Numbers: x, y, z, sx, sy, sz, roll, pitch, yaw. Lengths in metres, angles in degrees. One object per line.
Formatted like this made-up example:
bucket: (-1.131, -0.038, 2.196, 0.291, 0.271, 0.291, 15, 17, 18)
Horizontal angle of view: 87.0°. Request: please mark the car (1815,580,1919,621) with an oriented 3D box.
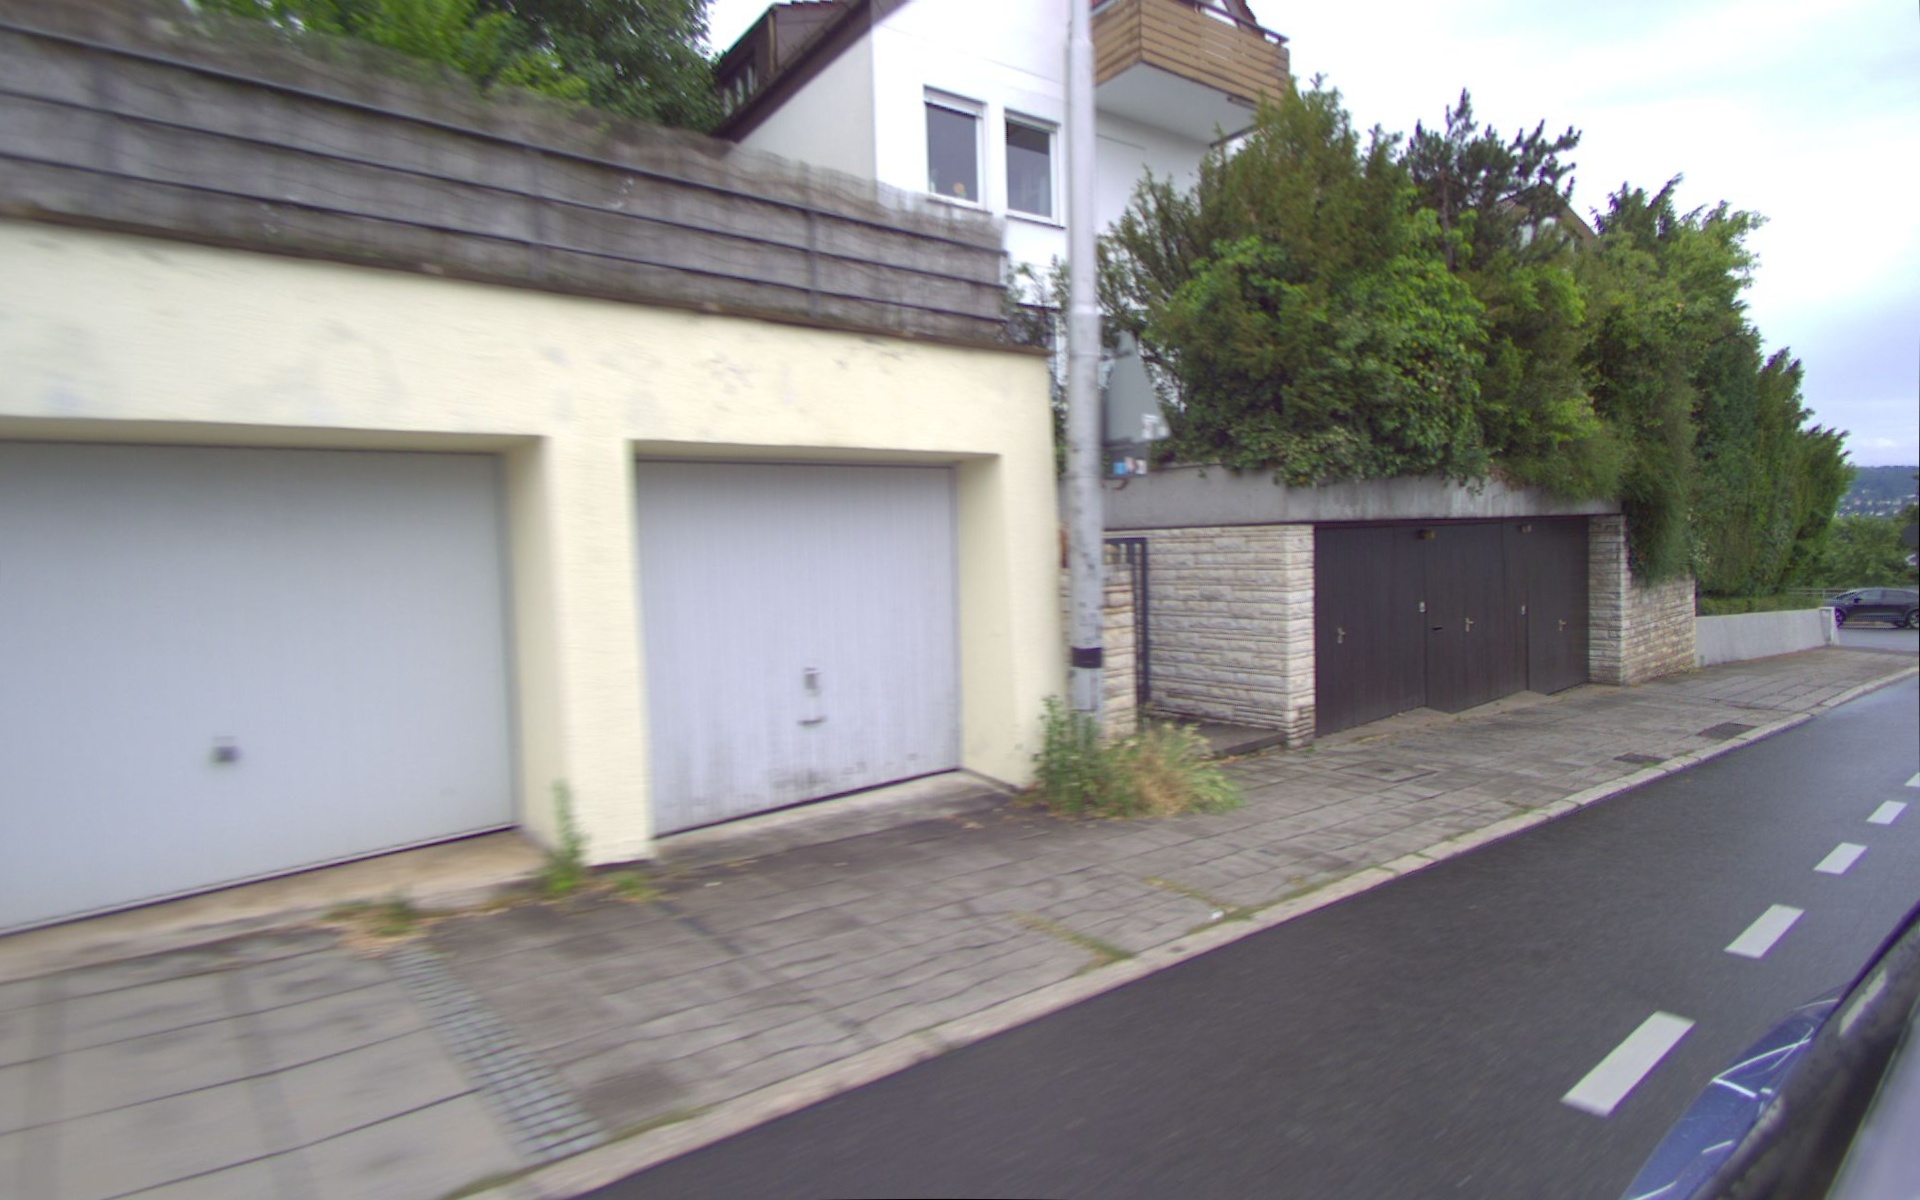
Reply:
car: (36.614, 0.012, 39.786, 4.158, 1.542, 1.983, 1, 1, 25)
